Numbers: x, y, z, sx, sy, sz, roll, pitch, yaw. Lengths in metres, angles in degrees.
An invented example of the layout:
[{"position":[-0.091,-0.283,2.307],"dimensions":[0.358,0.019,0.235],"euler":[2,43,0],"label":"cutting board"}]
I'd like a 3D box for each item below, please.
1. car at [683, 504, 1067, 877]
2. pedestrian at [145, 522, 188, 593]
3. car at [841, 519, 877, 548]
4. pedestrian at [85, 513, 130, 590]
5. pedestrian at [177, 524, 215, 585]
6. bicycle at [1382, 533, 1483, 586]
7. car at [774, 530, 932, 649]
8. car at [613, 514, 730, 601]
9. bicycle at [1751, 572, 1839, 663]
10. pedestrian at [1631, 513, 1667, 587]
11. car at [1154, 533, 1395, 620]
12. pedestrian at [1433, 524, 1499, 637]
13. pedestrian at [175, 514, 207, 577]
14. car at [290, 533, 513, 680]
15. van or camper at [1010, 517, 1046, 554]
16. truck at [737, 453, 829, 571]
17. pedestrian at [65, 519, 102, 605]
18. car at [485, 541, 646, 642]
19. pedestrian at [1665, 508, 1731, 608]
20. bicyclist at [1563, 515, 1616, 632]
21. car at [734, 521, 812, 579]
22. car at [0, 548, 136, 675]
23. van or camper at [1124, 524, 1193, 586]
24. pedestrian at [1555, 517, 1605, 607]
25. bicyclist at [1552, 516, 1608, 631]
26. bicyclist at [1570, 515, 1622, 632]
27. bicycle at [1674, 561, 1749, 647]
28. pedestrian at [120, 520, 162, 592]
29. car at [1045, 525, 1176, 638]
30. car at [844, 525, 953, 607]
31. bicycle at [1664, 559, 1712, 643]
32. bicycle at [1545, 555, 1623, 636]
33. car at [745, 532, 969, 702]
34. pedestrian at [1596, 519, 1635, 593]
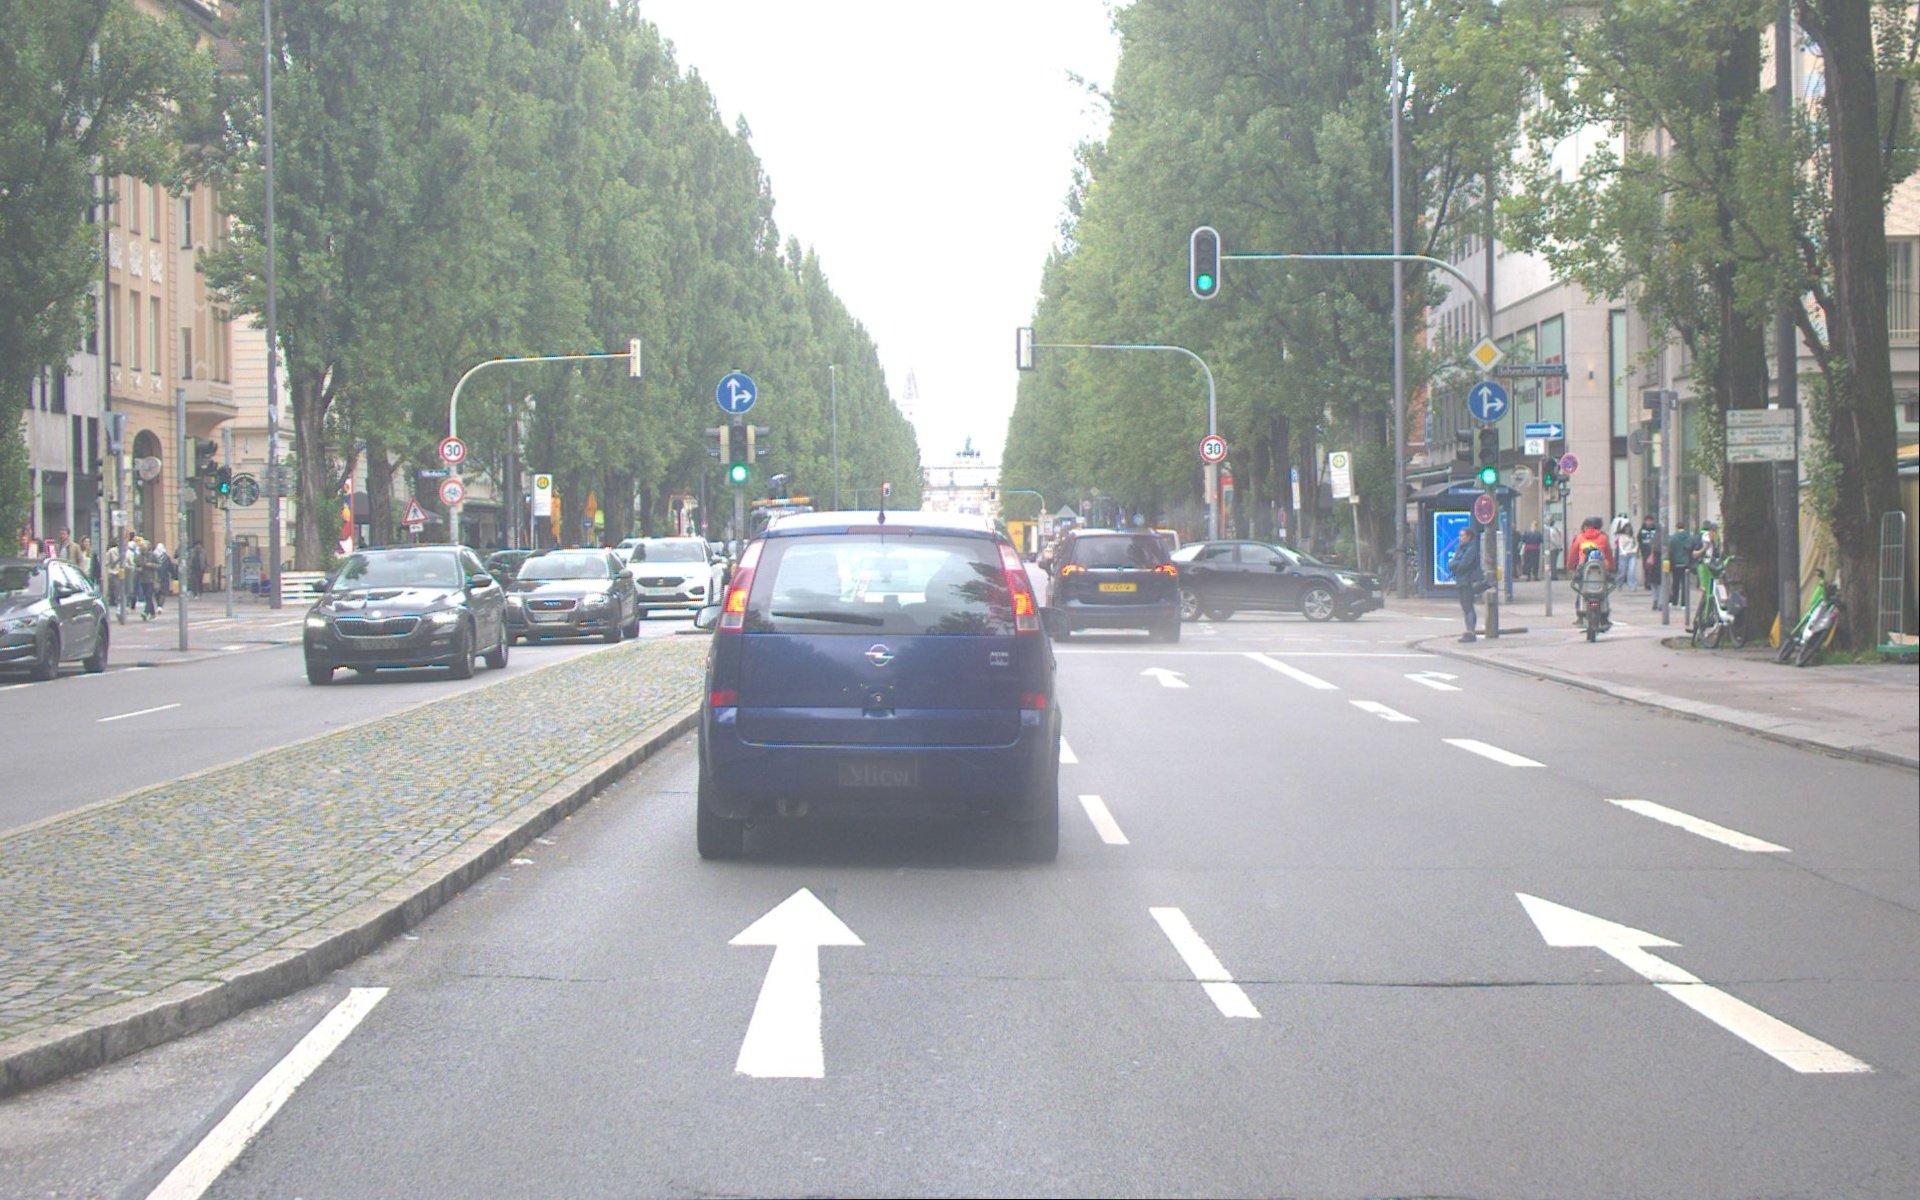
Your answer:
[{"position":[-0.400,0.359,17.156],"dimensions":[1.681,1.635,4.000],"euler":[0,1,-1],"label":"car"},{"position":[-17.674,-0.953,76.585],"dimensions":[0.750,1.562,0.989],"euler":[1,1,-2],"label":"pedestrian"},{"position":[-5.888,-3.882,200.818],"dimensions":[1.913,1.675,4.586],"euler":[0,1,0],"label":"car"},{"position":[-20.137,-1.146,81.246],"dimensions":[0.800,1.781,0.912],"euler":[1,1,1],"label":"pedestrian"},{"position":[-20.236,-1.214,91.115],"dimensions":[0.778,1.613,0.934],"euler":[-1,1,0],"label":"pedestrian"},{"position":[11.389,-0.985,82.881],"dimensions":[2.343,1.248,0.633],"euler":[0,1,0],"label":"bicycle"},{"position":[-1.374,-0.174,45.385],"dimensions":[1.993,1.492,4.000],"euler":[0,1,-1],"label":"car"},{"position":[-5.754,-0.880,69.067],"dimensions":[1.843,1.630,4.575],"euler":[-2,1,1],"label":"car"},{"position":[9.380,0.191,38.668],"dimensions":[0.508,0.972,1.770],"euler":[0,1,-1],"label":"bicycle"},{"position":[16.564,-1.205,82.640],"dimensions":[0.750,1.752,0.711],"euler":[0,1,2],"label":"pedestrian"},{"position":[5.762,-0.425,63.040],"dimensions":[3.993,1.456,1.757],"euler":[-2,0,28],"label":"car"},{"position":[7.288,-0.293,49.583],"dimensions":[0.765,1.604,0.864],"euler":[-1,1,-4],"label":"pedestrian"},{"position":[-21.742,-1.547,97.180],"dimensions":[0.699,1.781,0.820],"euler":[0,1,2],"label":"pedestrian"},{"position":[-6.090,0.043,37.886],"dimensions":[1.756,1.460,4.050],"euler":[-2,1,0],"label":"car"},{"position":[4.810,-4.550,243.826],"dimensions":[2.477,2.572,5.844],"euler":[-1,1,1],"label":"van or camper"},{"position":[-5.699,-2.848,111.708],"dimensions":[2.463,3.657,8.440],"euler":[-1,1,0],"label":"truck"},{"position":[-17.190,-0.745,67.415],"dimensions":[0.586,1.685,0.514],"euler":[0,1,0],"label":"pedestrian"},{"position":[-5.842,-0.161,51.310],"dimensions":[1.836,1.356,4.176],"euler":[-3,1,0],"label":"car"},{"position":[12.648,-0.709,58.928],"dimensions":[0.665,1.697,0.860],"euler":[0,-1,-43],"label":"pedestrian"},{"position":[8.626,-0.366,47.100],"dimensions":[0.621,1.583,0.481],"euler":[-1,1,0],"label":"bicyclist"},{"position":[-5.130,-1.394,94.773],"dimensions":[1.843,1.496,4.986],"euler":[-1,1,0],"label":"car"},{"position":[-11.380,0.124,41.540],"dimensions":[1.703,1.433,4.590],"euler":[-2,1,0],"label":"car"},{"position":[6.171,-1.410,107.235],"dimensions":[1.868,1.876,4.903],"euler":[0,1,0],"label":"van or camper"},{"position":[12.467,-0.766,69.119],"dimensions":[0.818,1.811,0.891],"euler":[0,1,-1],"label":"pedestrian"},{"position":[8.618,-0.375,47.809],"dimensions":[0.621,1.583,0.753],"euler":[-1,1,0],"label":"bicyclist"},{"position":[8.630,-0.360,46.652],"dimensions":[0.621,1.583,0.391],"euler":[-1,1,0],"label":"bicyclist"},{"position":[9.476,0.042,43.404],"dimensions":[0.508,1.044,1.770],"euler":[0,1,-1],"label":"bicycle"},{"position":[-19.350,-1.040,81.251],"dimensions":[0.732,1.676,0.977],"euler":[1,1,0],"label":"pedestrian"},{"position":[2.170,-0.304,50.455],"dimensions":[1.706,1.568,4.000],"euler":[-1,1,0],"label":"car"},{"position":[-1.152,-0.666,64.925],"dimensions":[1.993,1.492,4.000],"euler":[0,1,-1],"label":"car"},{"position":[9.638,0.005,45.514],"dimensions":[0.405,1.066,1.810],"euler":[5,2,16],"label":"bicycle"},{"position":[8.626,-0.075,47.596],"dimensions":[0.626,1.083,2.264],"euler":[-1,1,-1],"label":"bicycle"},{"position":[-0.945,0.114,32.870],"dimensions":[1.993,1.492,4.000],"euler":[-1,1,-1],"label":"car"},{"position":[15.717,-1.061,82.424],"dimensions":[0.750,1.752,1.017],"euler":[0,1,2],"label":"pedestrian"}]
